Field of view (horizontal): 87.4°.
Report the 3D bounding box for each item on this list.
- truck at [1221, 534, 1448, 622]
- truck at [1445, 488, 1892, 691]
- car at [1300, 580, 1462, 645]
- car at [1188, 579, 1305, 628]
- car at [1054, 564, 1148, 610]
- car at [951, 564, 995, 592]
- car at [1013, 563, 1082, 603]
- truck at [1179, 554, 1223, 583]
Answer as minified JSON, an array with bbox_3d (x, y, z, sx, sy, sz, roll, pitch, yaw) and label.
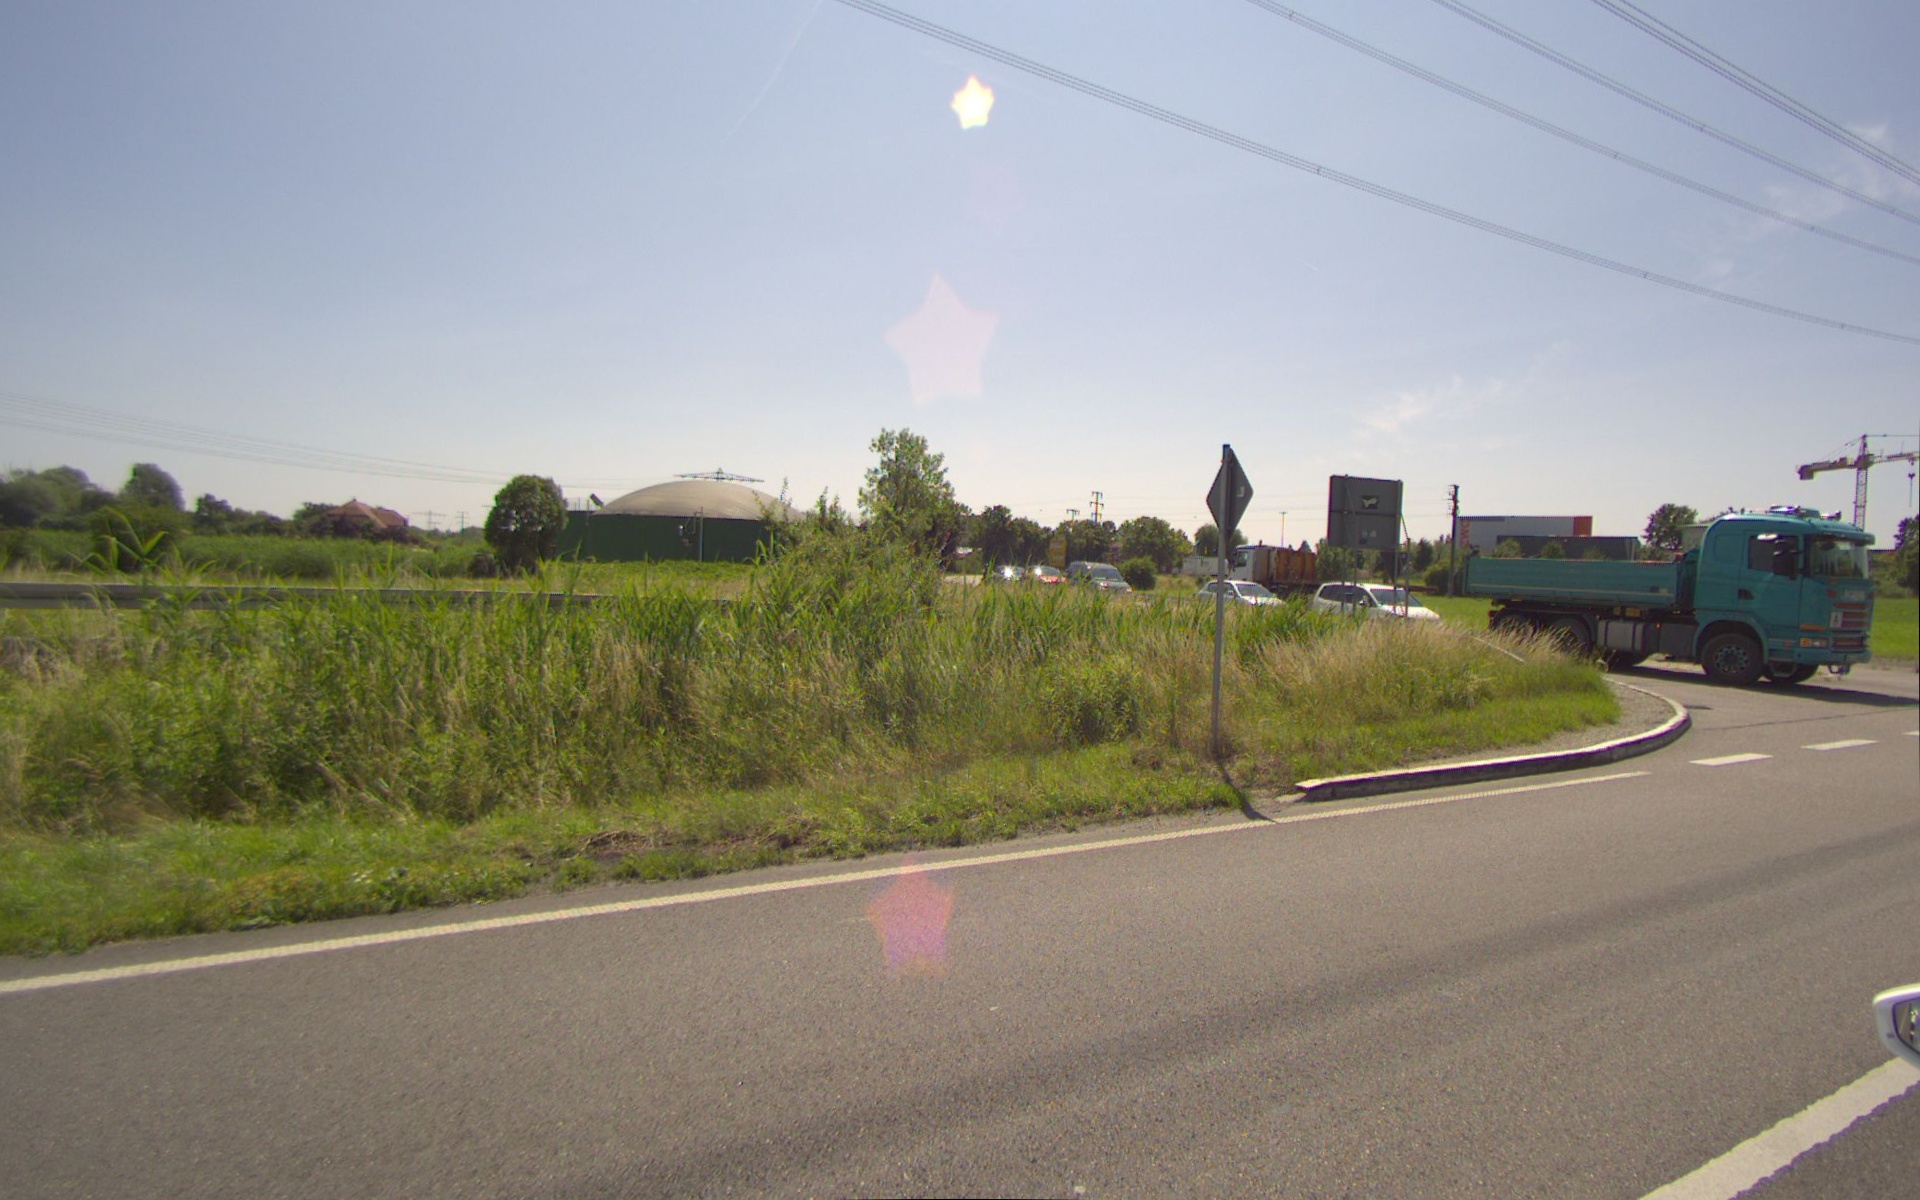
[{"bbox_3d":[15.627,-0.936,42.966,2.794,3.332,9.627,0,1,-28],"label":"truck"},{"bbox_3d":[15.384,-0.384,22.772,2.466,3.785,7.873,1,3,-27],"label":"truck"},{"bbox_3d":[12.122,0.300,29.287,1.935,1.634,4.541,2,2,-15],"label":"car"},{"bbox_3d":[9.899,0.080,35.074,1.691,1.490,4.427,2,1,-18],"label":"car"},{"bbox_3d":[6.251,-0.639,45.277,2.057,1.893,4.927,0,3,-21],"label":"car"},{"bbox_3d":[0.813,-1.391,64.668,1.965,1.691,3.991,1,1,-12],"label":"car"},{"bbox_3d":[4.449,-0.925,51.765,1.886,1.874,4.464,1,2,-19],"label":"car"},{"bbox_3d":[43.654,-5.609,181.465,3.626,4.708,13.208,3,1,32],"label":"truck"}]
